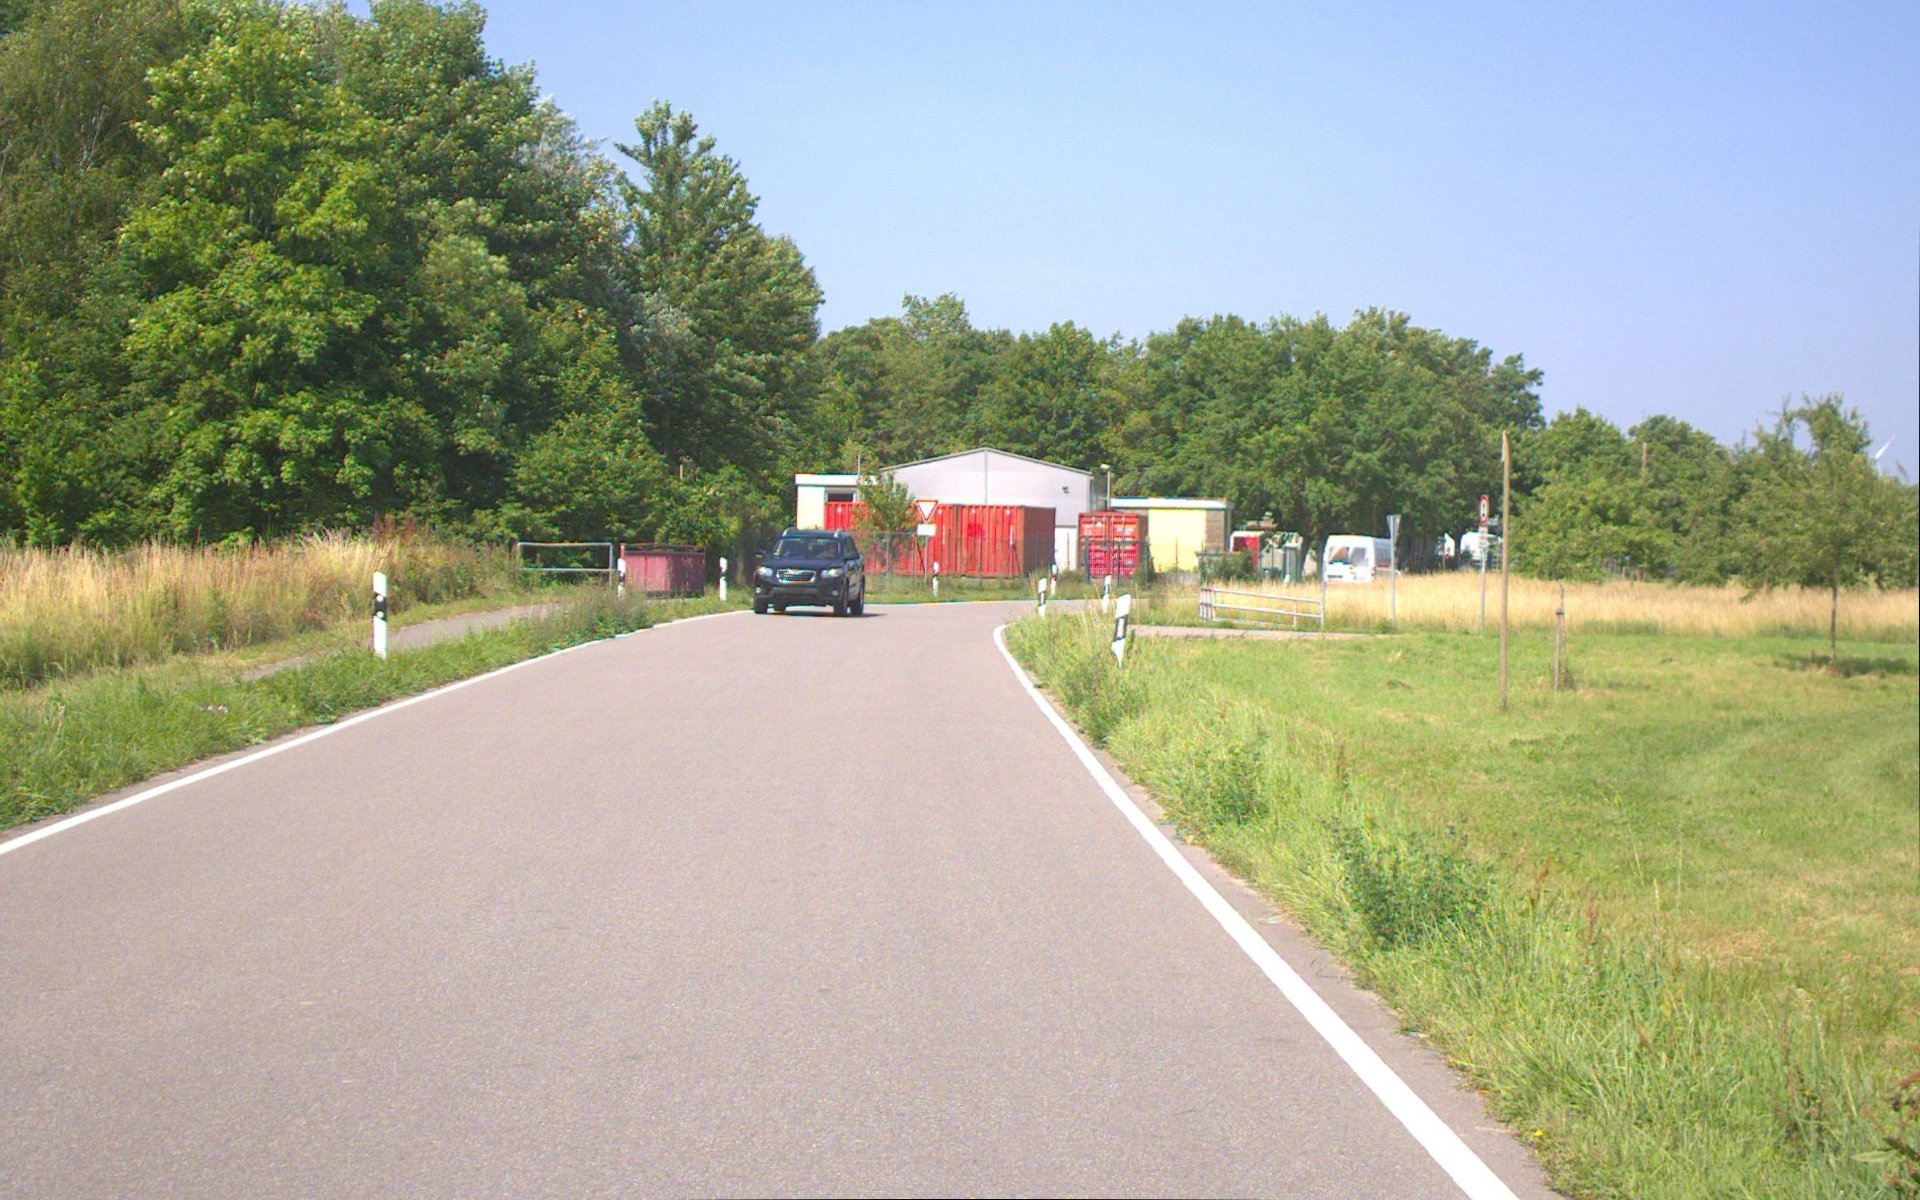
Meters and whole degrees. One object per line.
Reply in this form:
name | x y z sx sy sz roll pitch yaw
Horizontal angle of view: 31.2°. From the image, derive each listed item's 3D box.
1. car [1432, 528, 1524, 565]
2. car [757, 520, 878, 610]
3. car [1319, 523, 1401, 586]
car | 33.738 -3.505 224.098 5.593 2.258 2.001 1 1 -18
car | -2.890 -0.734 70.506 1.866 1.747 4.296 1 1 6
car | 15.049 -1.707 129.205 1.995 2.258 4.721 2 1 20
